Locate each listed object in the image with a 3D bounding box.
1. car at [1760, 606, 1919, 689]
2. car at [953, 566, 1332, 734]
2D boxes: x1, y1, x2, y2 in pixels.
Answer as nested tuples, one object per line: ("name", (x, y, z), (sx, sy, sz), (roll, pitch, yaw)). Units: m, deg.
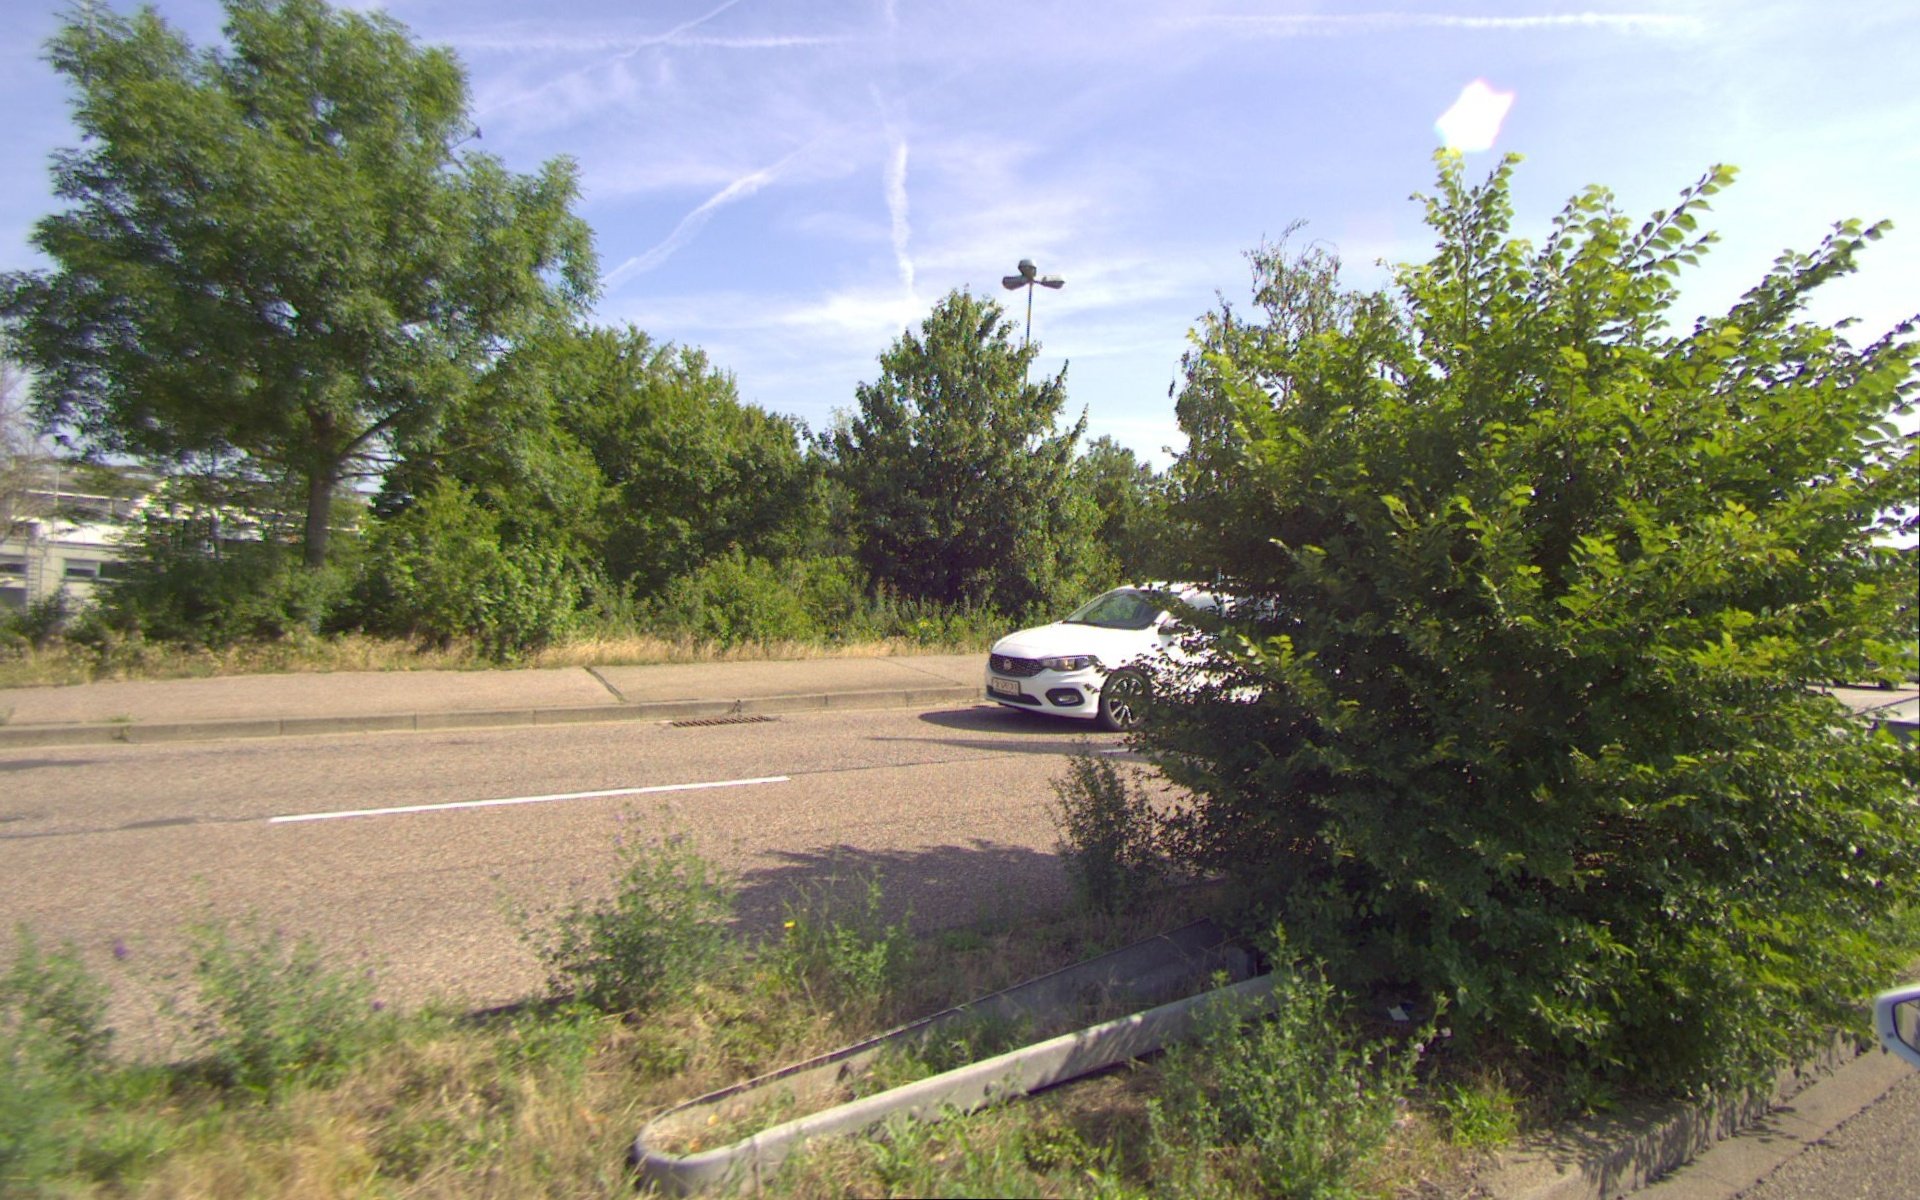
("car", (20.143, 1.090, 22.743), (4.179, 1.657, 1.871), (3, 0, -33))
("car", (2.081, 0.527, 11.164), (3.955, 1.571, 1.787), (2, -1, -32))
